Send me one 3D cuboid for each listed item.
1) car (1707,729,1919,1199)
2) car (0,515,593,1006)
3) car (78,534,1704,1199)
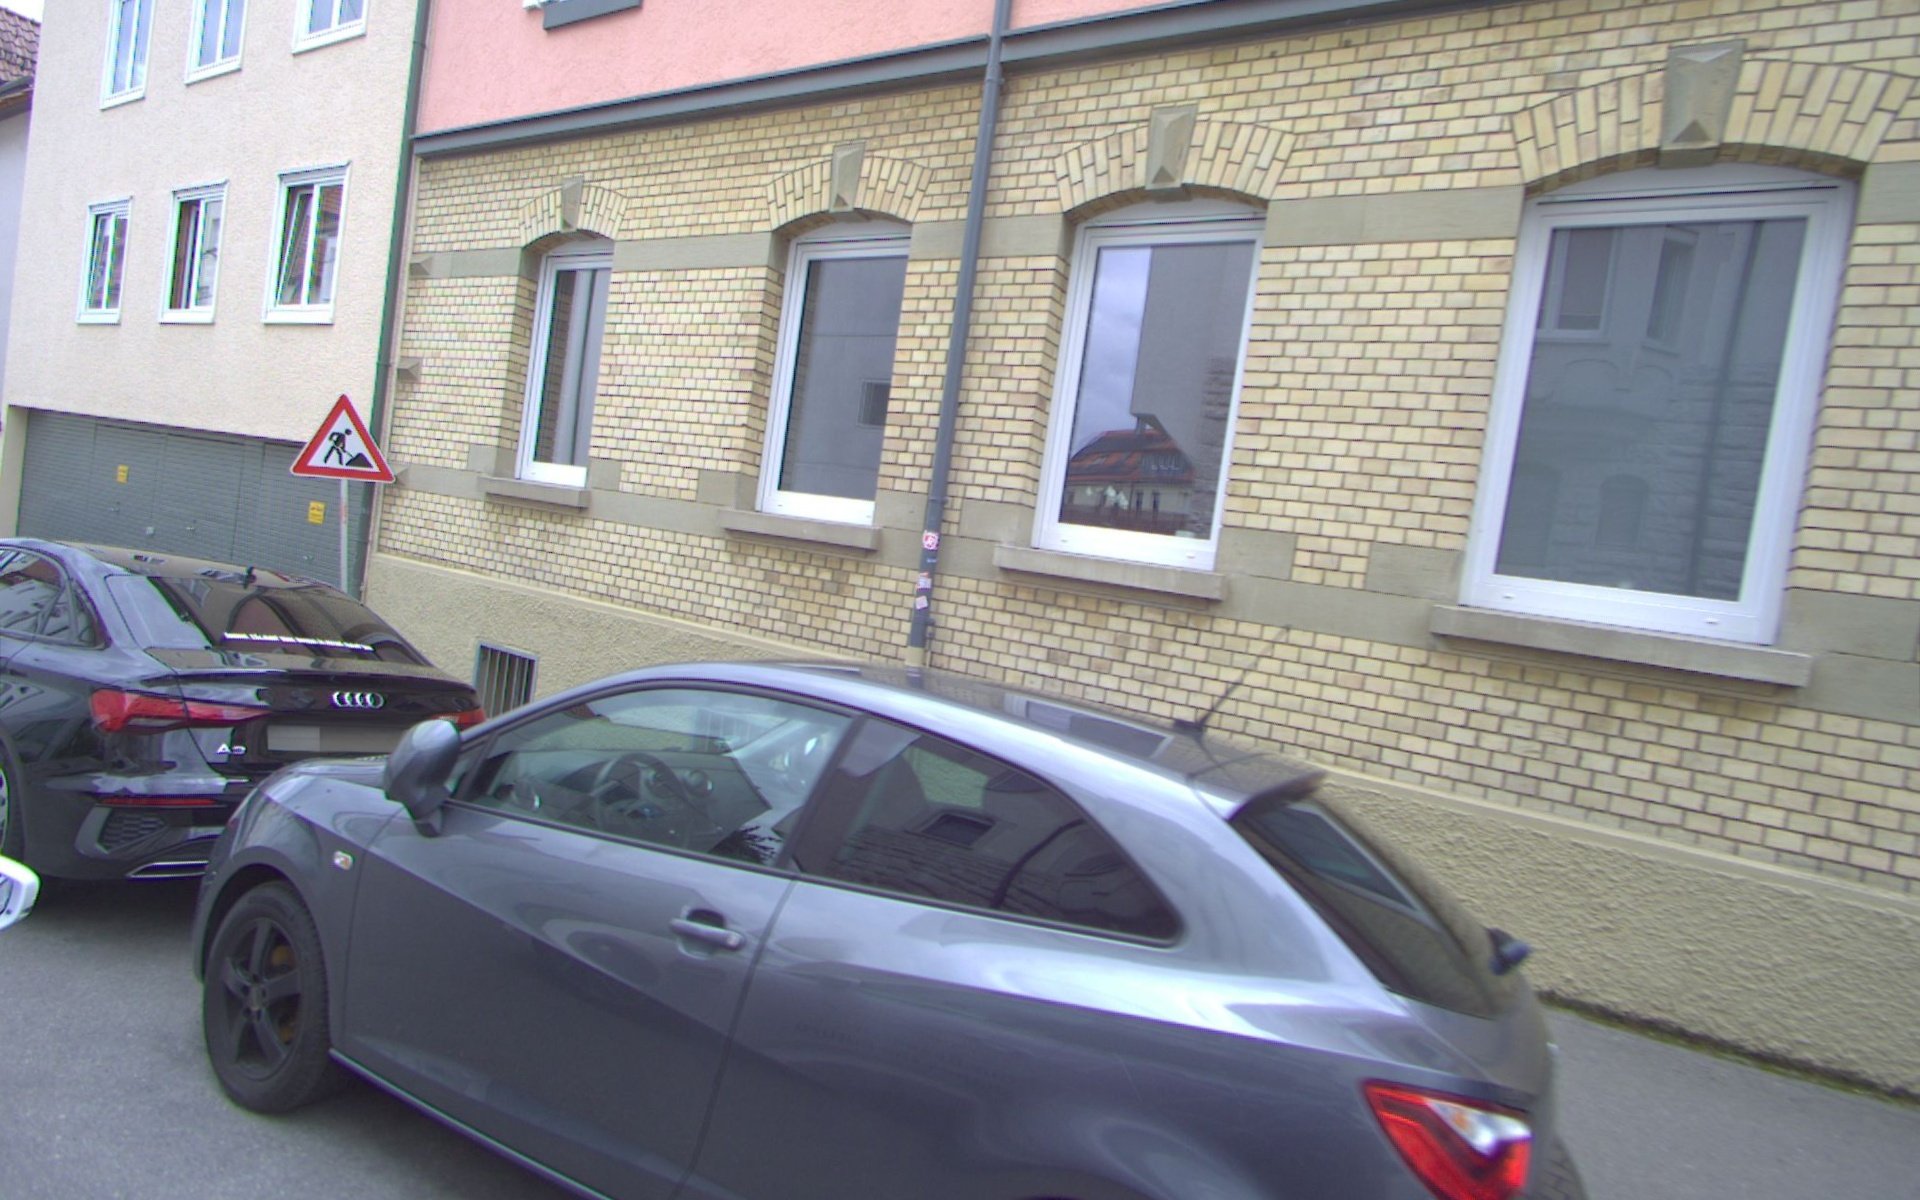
[{"bbox_3d":[3.083,1.140,0.410,4.220,1.420,1.855,7,-1,31],"label":"car"},{"bbox_3d":[-4.203,0.402,5.072,4.497,1.420,1.856,7,-1,30],"label":"car"},{"bbox_3d":[-0.471,0.791,2.962,3.898,1.420,1.857,7,-1,28],"label":"car"}]
